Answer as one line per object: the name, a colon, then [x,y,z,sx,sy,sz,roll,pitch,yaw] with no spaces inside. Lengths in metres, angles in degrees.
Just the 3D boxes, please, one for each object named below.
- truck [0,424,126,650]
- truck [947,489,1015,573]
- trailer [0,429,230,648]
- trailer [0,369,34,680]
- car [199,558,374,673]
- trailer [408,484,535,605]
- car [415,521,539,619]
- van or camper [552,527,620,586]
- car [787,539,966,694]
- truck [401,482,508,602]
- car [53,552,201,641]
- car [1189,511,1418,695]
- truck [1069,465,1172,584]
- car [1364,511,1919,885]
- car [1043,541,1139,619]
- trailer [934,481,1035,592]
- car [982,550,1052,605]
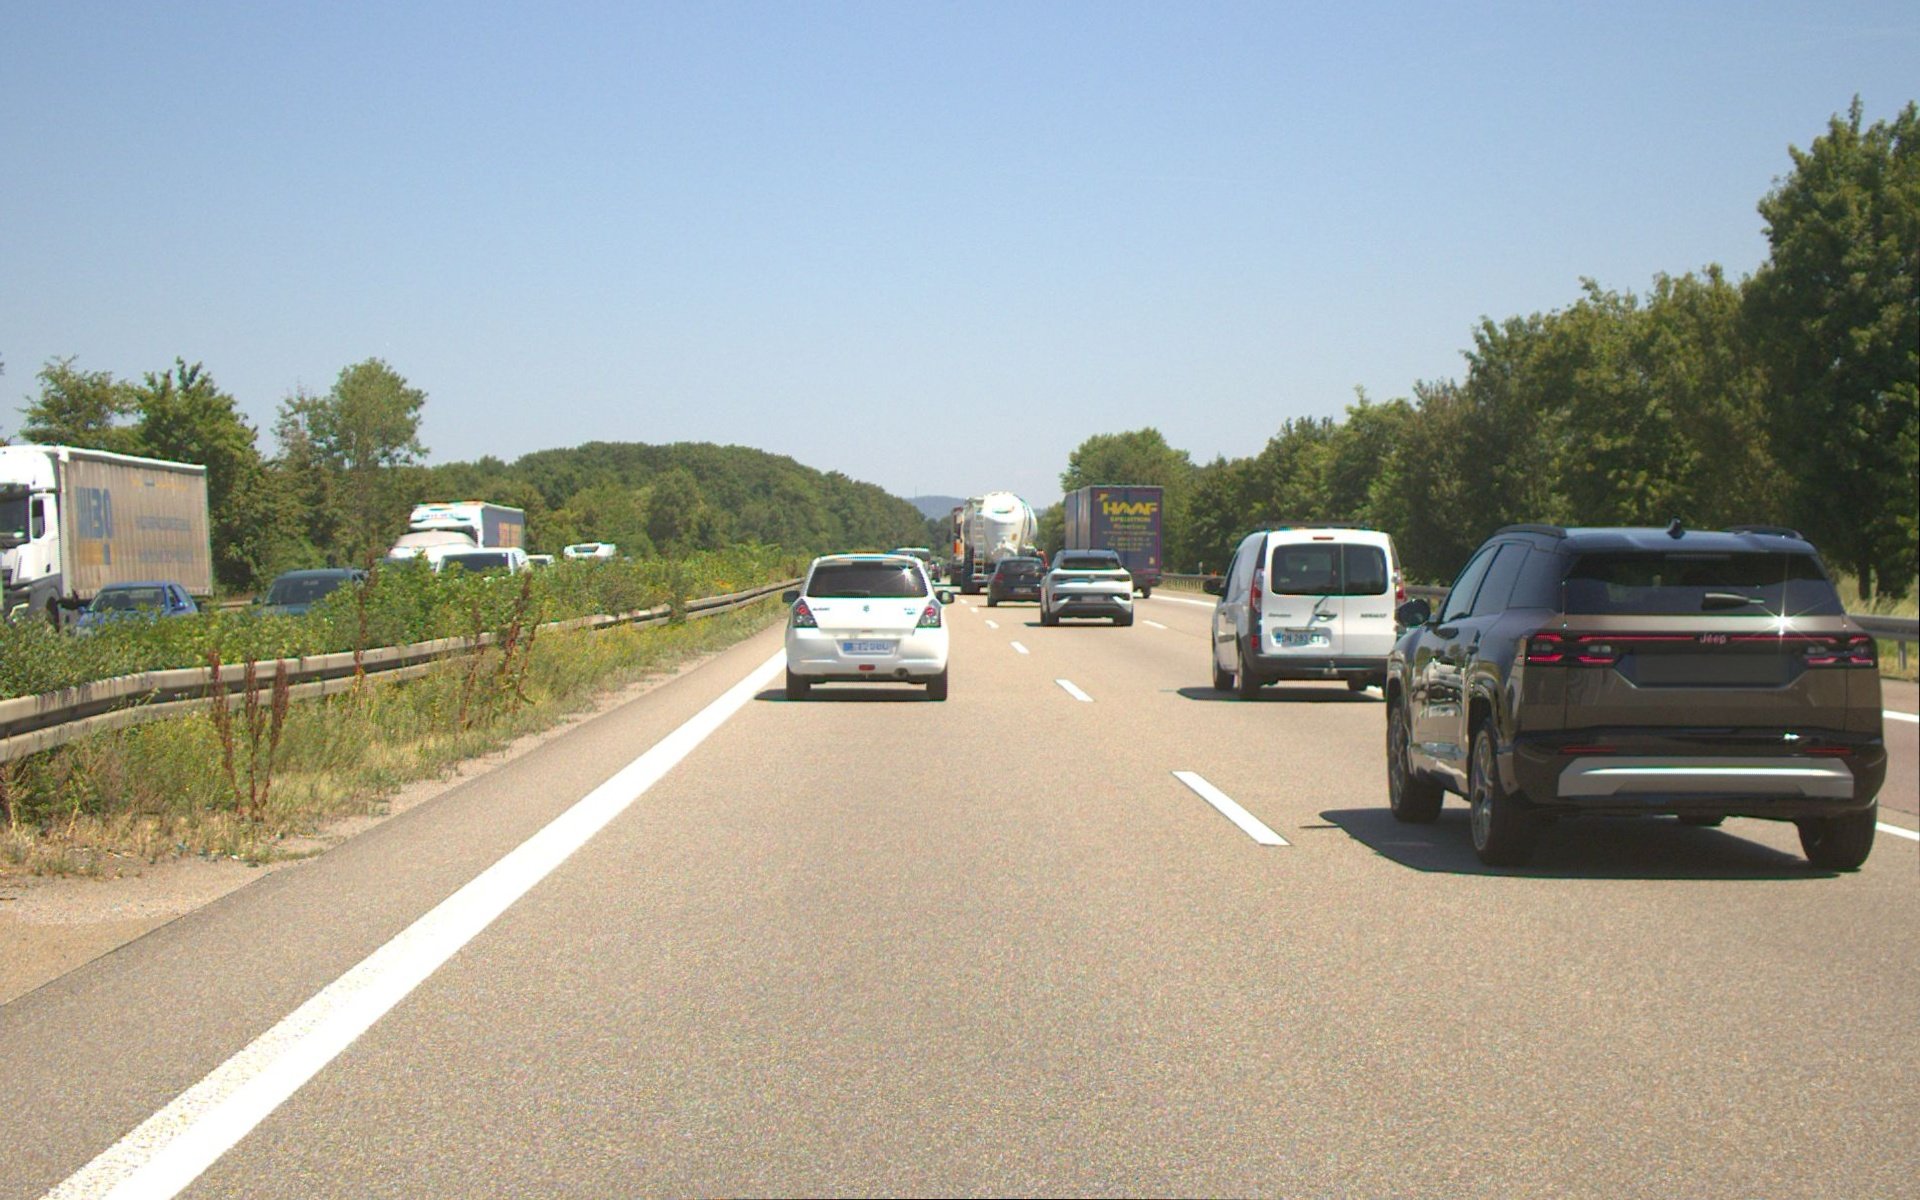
truck: [-18.203,-1.142,65.958,2.757,4.089,6.152,-3,1,0]
truck: [1.091,-3.586,180.134,3.394,4.199,12.083,1,1,0]
trailer: [-18.264,-1.227,72.231,2.757,4.089,14.053,-3,1,0]
trailer: [-13.957,-0.856,39.065,2.740,4.071,14.347,-2,1,0]
car: [-10.503,0.203,53.915,1.959,1.688,4.803,1,1,-2]
trailer: [-18.784,-2.022,133.057,2.977,4.197,13.735,-2,-1,-1]
car: [-10.383,-0.660,74.252,1.993,2.024,5.491,1,1,-1]
van or camper: [-20.109,-2.338,185.037,2.850,2.959,7.447,-2,1,-1]
car: [-0.891,0.143,36.638,1.799,1.546,3.610,1,1,-1]
truck: [-18.735,-2.096,127.710,3.006,4.197,6.311,-2,-1,-1]
car: [-14.213,-0.073,58.860,1.572,1.382,3.968,-3,1,-1]
car: [3.680,0.000,37.627,1.853,1.856,4.703,1,1,-2]
truck: [5.888,-2.750,128.438,3.109,4.124,15.511,1,1,0]
car: [3.380,0.417,17.947,1.867,1.669,4.746,1,1,-1]
car: [2.779,-0.440,73.586,1.802,1.597,4.381,1,1,-1]
trailer: [0.865,-2.445,133.225,2.911,4.055,12.420,1,1,-4]
car: [1.617,-0.666,98.432,1.850,1.518,3.957,1,1,-1]
